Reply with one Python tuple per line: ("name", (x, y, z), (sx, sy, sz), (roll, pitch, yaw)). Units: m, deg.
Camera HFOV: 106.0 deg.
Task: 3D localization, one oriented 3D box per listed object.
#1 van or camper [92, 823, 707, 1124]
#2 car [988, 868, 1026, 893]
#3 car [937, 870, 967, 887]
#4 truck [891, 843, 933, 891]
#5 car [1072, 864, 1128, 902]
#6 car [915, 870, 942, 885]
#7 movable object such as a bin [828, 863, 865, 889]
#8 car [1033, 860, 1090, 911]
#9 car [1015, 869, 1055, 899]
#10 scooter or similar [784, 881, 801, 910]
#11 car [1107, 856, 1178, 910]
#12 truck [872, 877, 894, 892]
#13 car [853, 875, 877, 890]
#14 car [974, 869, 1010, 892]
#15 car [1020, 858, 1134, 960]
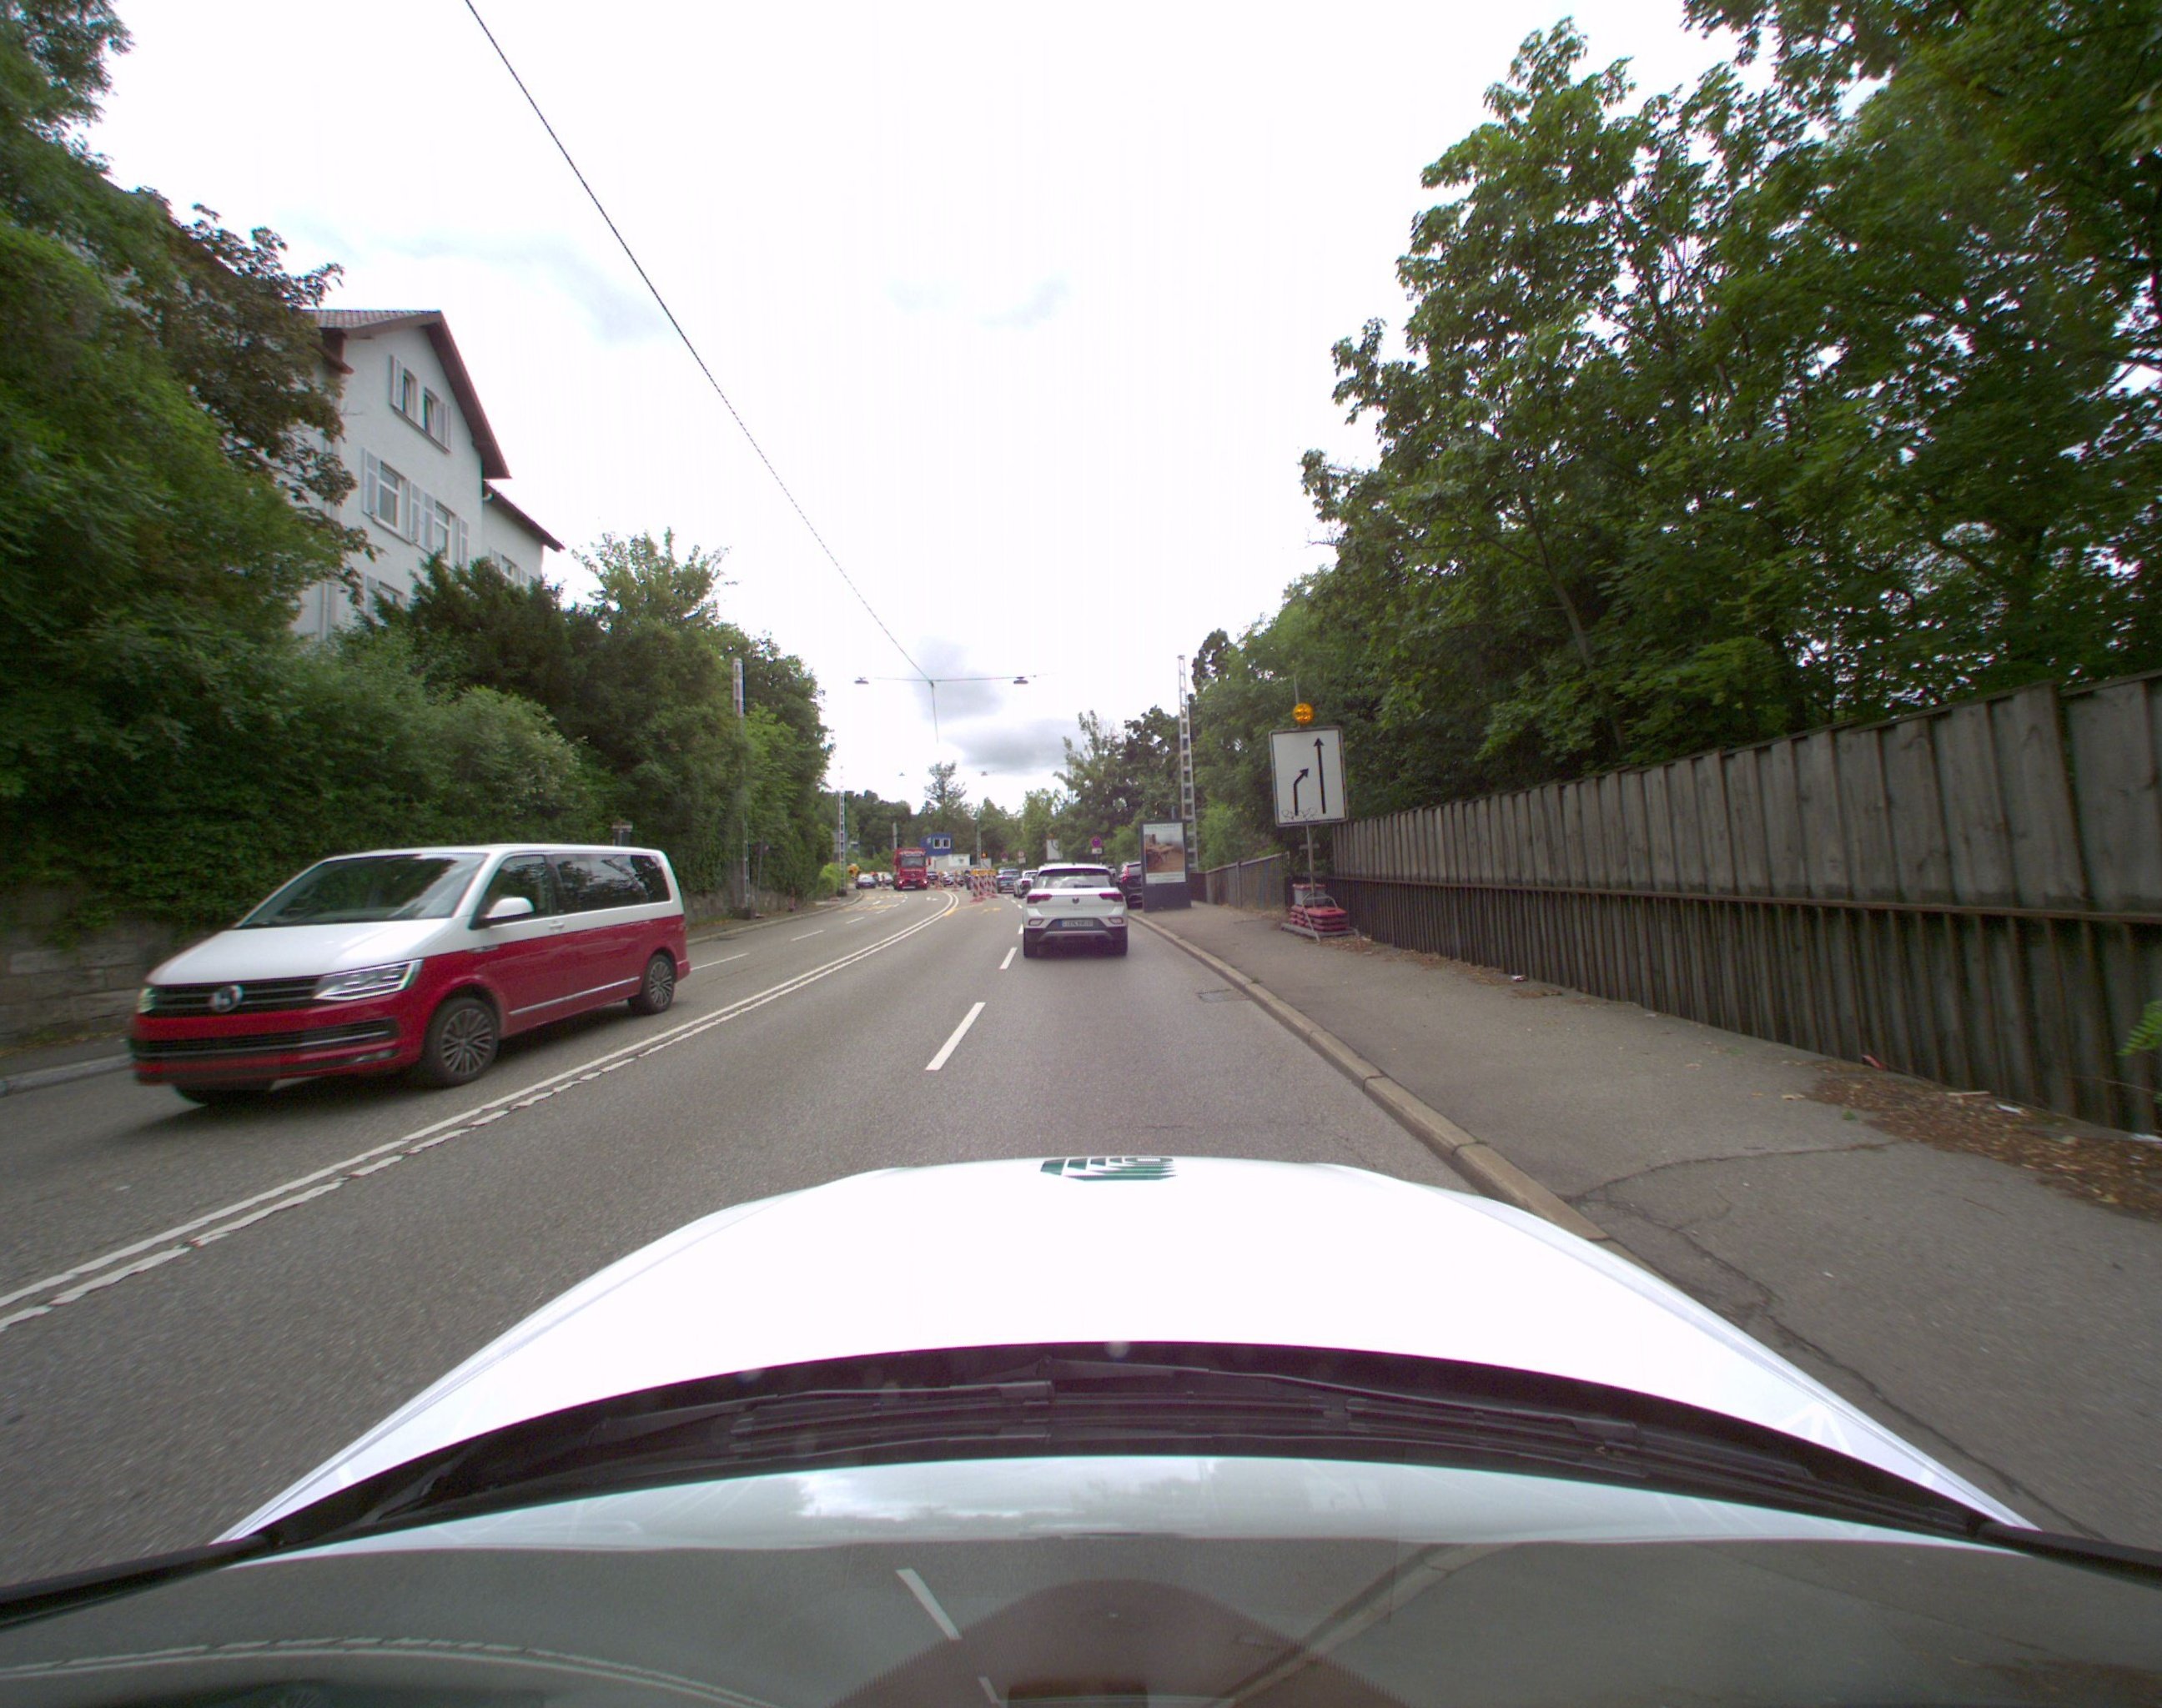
("van or camper", (-5.649, 0.822, 7.830), (1.885, 1.878, 4.762), (-4, -1, -2))
("car", (-4.910, 1.750, 53.645), (1.994, 1.414, 4.134), (-4, -2, -11))
("car", (-12.072, 2.330, 76.167), (2.000, 1.450, 4.123), (-3, -1, -19))
("truck", (-14.956, 1.170, 71.469), (2.950, 3.698, 9.869), (-4, 0, -14))
("car", (0.856, 1.359, 39.244), (1.808, 1.463, 4.179), (-8, 0, -10))
("car", (-16.327, 2.504, 87.011), (2.003, 1.450, 4.117), (-3, -1, -24))
("movable object such as a bin", (-35.975, 3.401, 124.816), (3.555, 3.699, 7.419), (-3, -1, -31))
("car", (-0.753, 1.069, 28.785), (1.755, 1.609, 3.789), (-2, -1, -5))
("car", (-2.474, 1.563, 43.052), (1.757, 1.471, 3.784), (-2, -1, -8))
("scooter or similar", (-12.511, 1.790, 35.329), (0.538, 1.205, 1.274), (0, -1, -11))
("car", (2.042, 0.943, 28.270), (1.762, 1.521, 4.388), (-7, 0, -3))
("truck", (-21.293, 3.287, 87.497), (1.669, 1.443, 3.995), (-3, -1, -23))
("car", (-21.331, 2.789, 80.308), (1.902, 1.382, 3.973), (-2, 0, -20))
("car", (-6.869, 2.013, 62.625), (1.999, 1.556, 4.126), (-2, 0, -17))
("car", (-0.200, 0.900, 14.893), (1.755, 1.556, 3.788), (-2, -1, -5))
